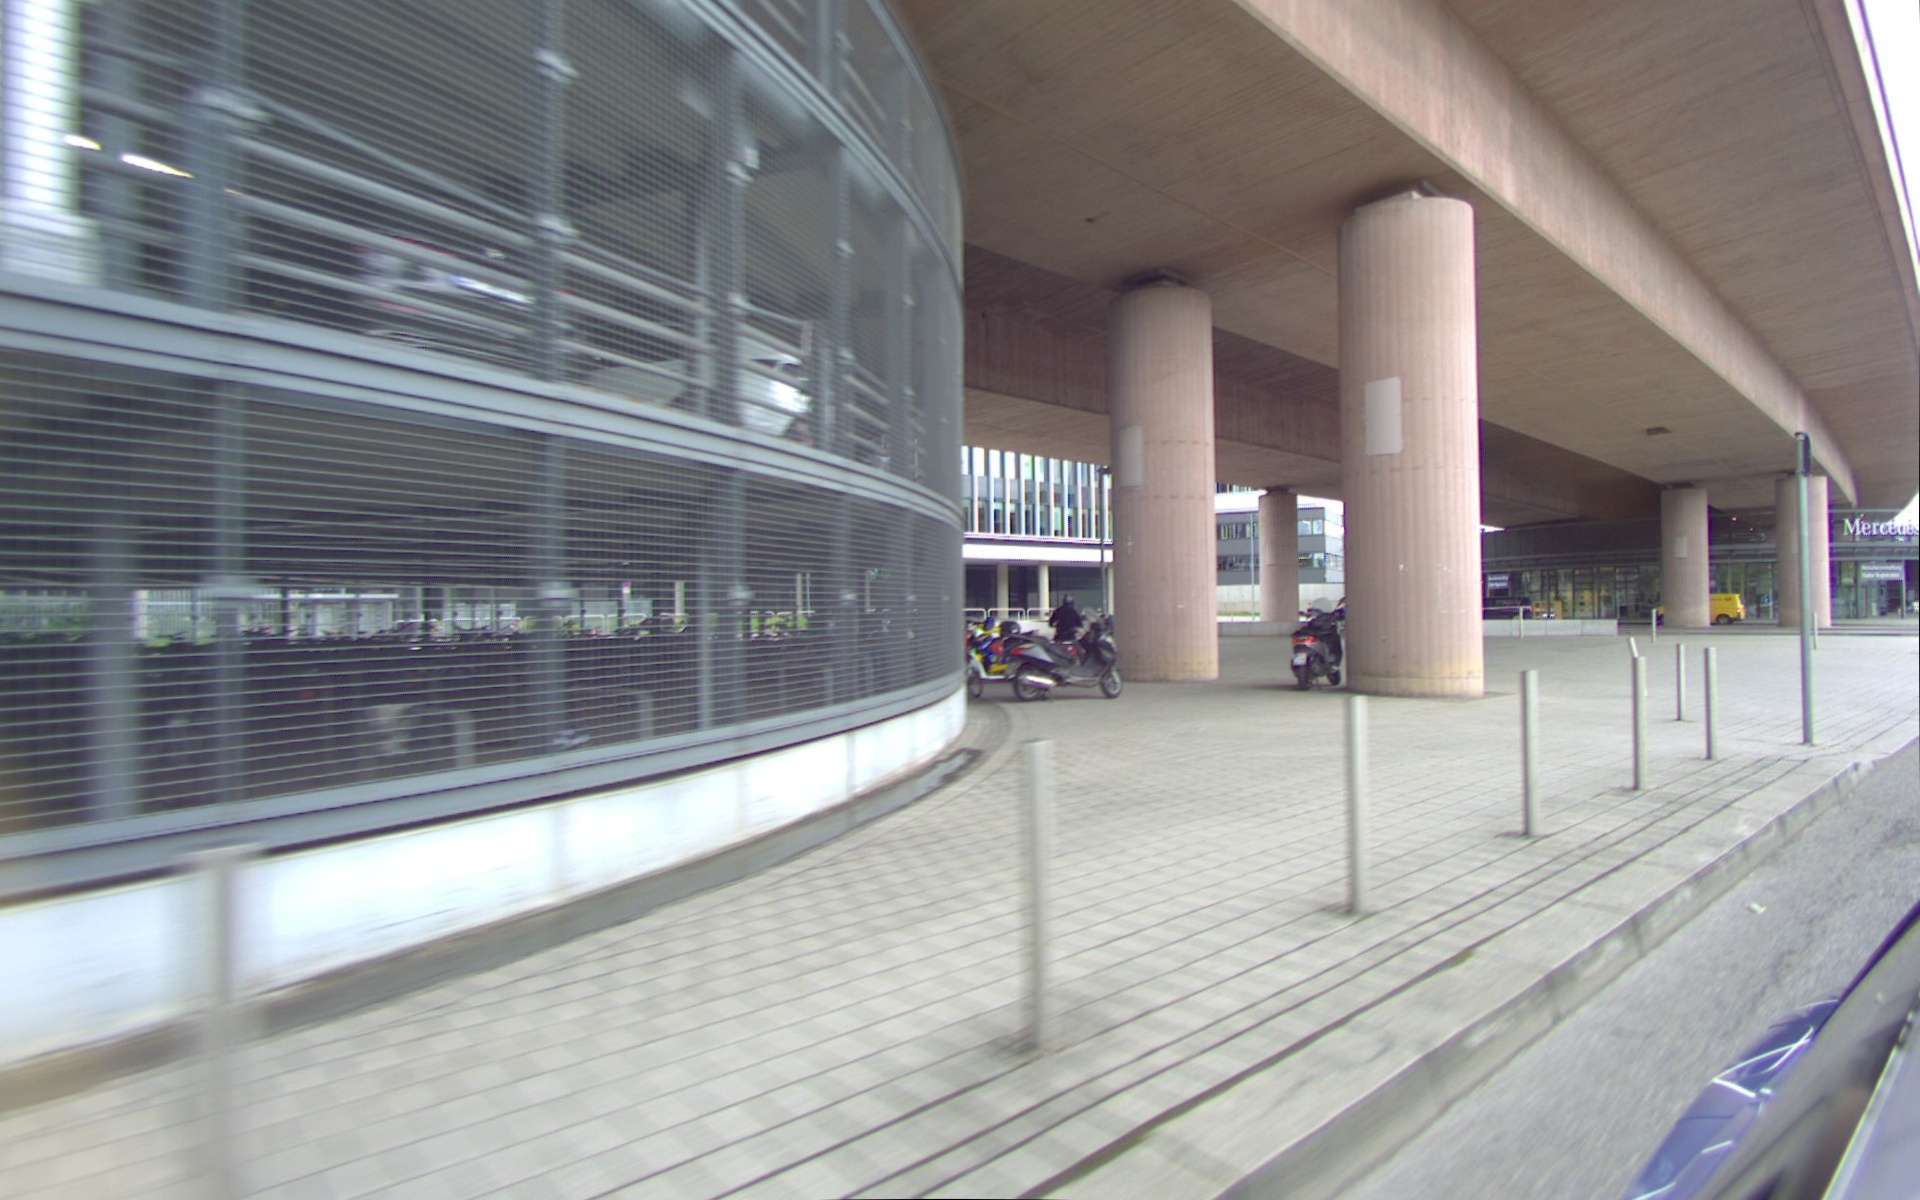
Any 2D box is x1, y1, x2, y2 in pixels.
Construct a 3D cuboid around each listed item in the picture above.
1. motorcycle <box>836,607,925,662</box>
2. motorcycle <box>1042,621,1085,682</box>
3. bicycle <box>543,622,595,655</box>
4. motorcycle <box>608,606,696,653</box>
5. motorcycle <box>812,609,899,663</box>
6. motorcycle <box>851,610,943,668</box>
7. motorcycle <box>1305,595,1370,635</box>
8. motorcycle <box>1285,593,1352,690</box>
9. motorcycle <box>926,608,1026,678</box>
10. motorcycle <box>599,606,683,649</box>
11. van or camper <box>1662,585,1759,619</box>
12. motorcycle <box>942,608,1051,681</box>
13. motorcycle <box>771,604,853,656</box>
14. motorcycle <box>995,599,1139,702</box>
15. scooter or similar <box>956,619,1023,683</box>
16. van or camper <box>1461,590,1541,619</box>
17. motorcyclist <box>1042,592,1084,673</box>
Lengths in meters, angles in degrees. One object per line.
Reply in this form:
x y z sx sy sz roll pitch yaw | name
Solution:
-1.815 0.783 23.343 2.041 1.236 0.673 1 -1 -40 | motorcycle
1.882 0.921 18.585 0.735 1.035 1.953 0 -1 5 | motorcycle
-11.210 1.105 29.012 1.489 0.907 0.471 0 -1 25 | bicycle
-8.810 0.829 29.024 2.321 1.292 0.673 1 -1 -40 | motorcycle
-2.473 0.846 24.190 2.041 1.236 0.673 1 -1 -40 | motorcycle
-1.373 0.850 22.433 2.041 1.236 0.673 1 -1 -40 | motorcycle
12.279 0.481 32.914 1.923 1.281 0.543 0 -1 28 | motorcycle
5.833 0.649 16.398 0.639 1.474 1.741 0 -1 33 | motorcycle
0.347 0.843 20.387 2.091 1.319 0.607 0 -1 -38 | motorcycle
-9.506 0.818 30.228 2.321 1.236 0.673 1 -1 -40 | motorcycle
47.217 0.122 63.739 2.321 2.024 4.498 -1 0 -40 | van or camper
0.718 0.828 19.574 2.081 1.327 0.609 0 -1 -27 | motorcycle
-3.833 0.771 26.295 2.041 1.302 0.673 1 -1 -40 | motorcycle
1.614 0.713 15.077 2.125 1.438 0.632 0 -1 -27 | motorcycle
0.554 0.933 18.831 1.226 1.148 0.400 1 -1 -30 | scooter or similar
37.544 0.312 70.347 4.854 1.917 2.133 0 -1 28 | van or camper
1.872 0.581 18.469 0.751 1.438 0.868 0 -1 5 | motorcyclist
